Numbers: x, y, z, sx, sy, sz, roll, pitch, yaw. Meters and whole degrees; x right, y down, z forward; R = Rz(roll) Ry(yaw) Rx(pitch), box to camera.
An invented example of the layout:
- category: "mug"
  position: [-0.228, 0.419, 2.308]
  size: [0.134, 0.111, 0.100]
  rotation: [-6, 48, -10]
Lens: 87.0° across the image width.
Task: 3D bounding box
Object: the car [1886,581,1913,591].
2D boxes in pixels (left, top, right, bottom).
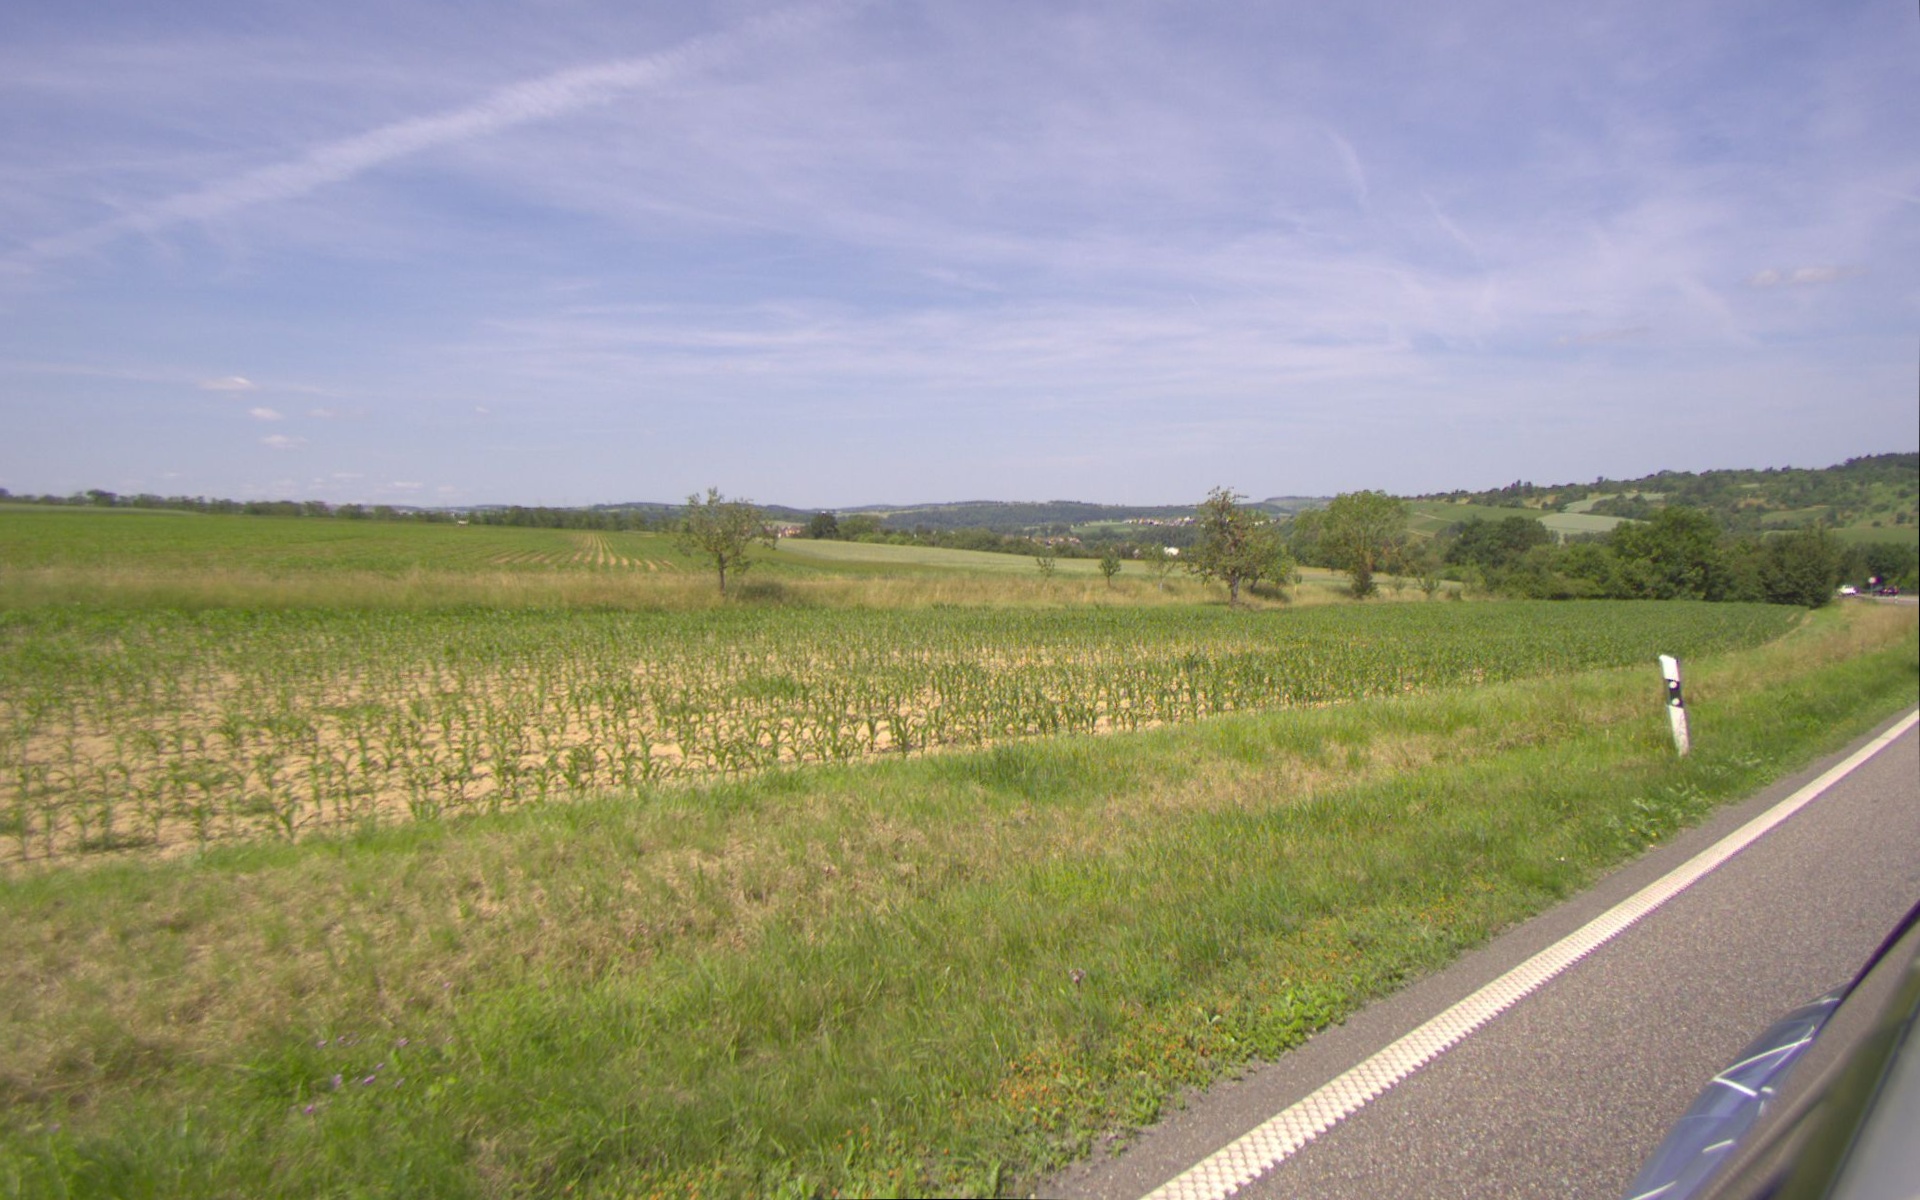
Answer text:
- category: "car"
  position: [136.161, -2.022, 146.634]
  size: [1.826, 1.473, 4.283]
  rotation: [1, 2, 29]

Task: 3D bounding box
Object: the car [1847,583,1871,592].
- category: "car"
  position: [143.926, -2.004, 162.002]
  size: [1.643, 1.475, 3.709]
  rotation: [0, 1, 21]
